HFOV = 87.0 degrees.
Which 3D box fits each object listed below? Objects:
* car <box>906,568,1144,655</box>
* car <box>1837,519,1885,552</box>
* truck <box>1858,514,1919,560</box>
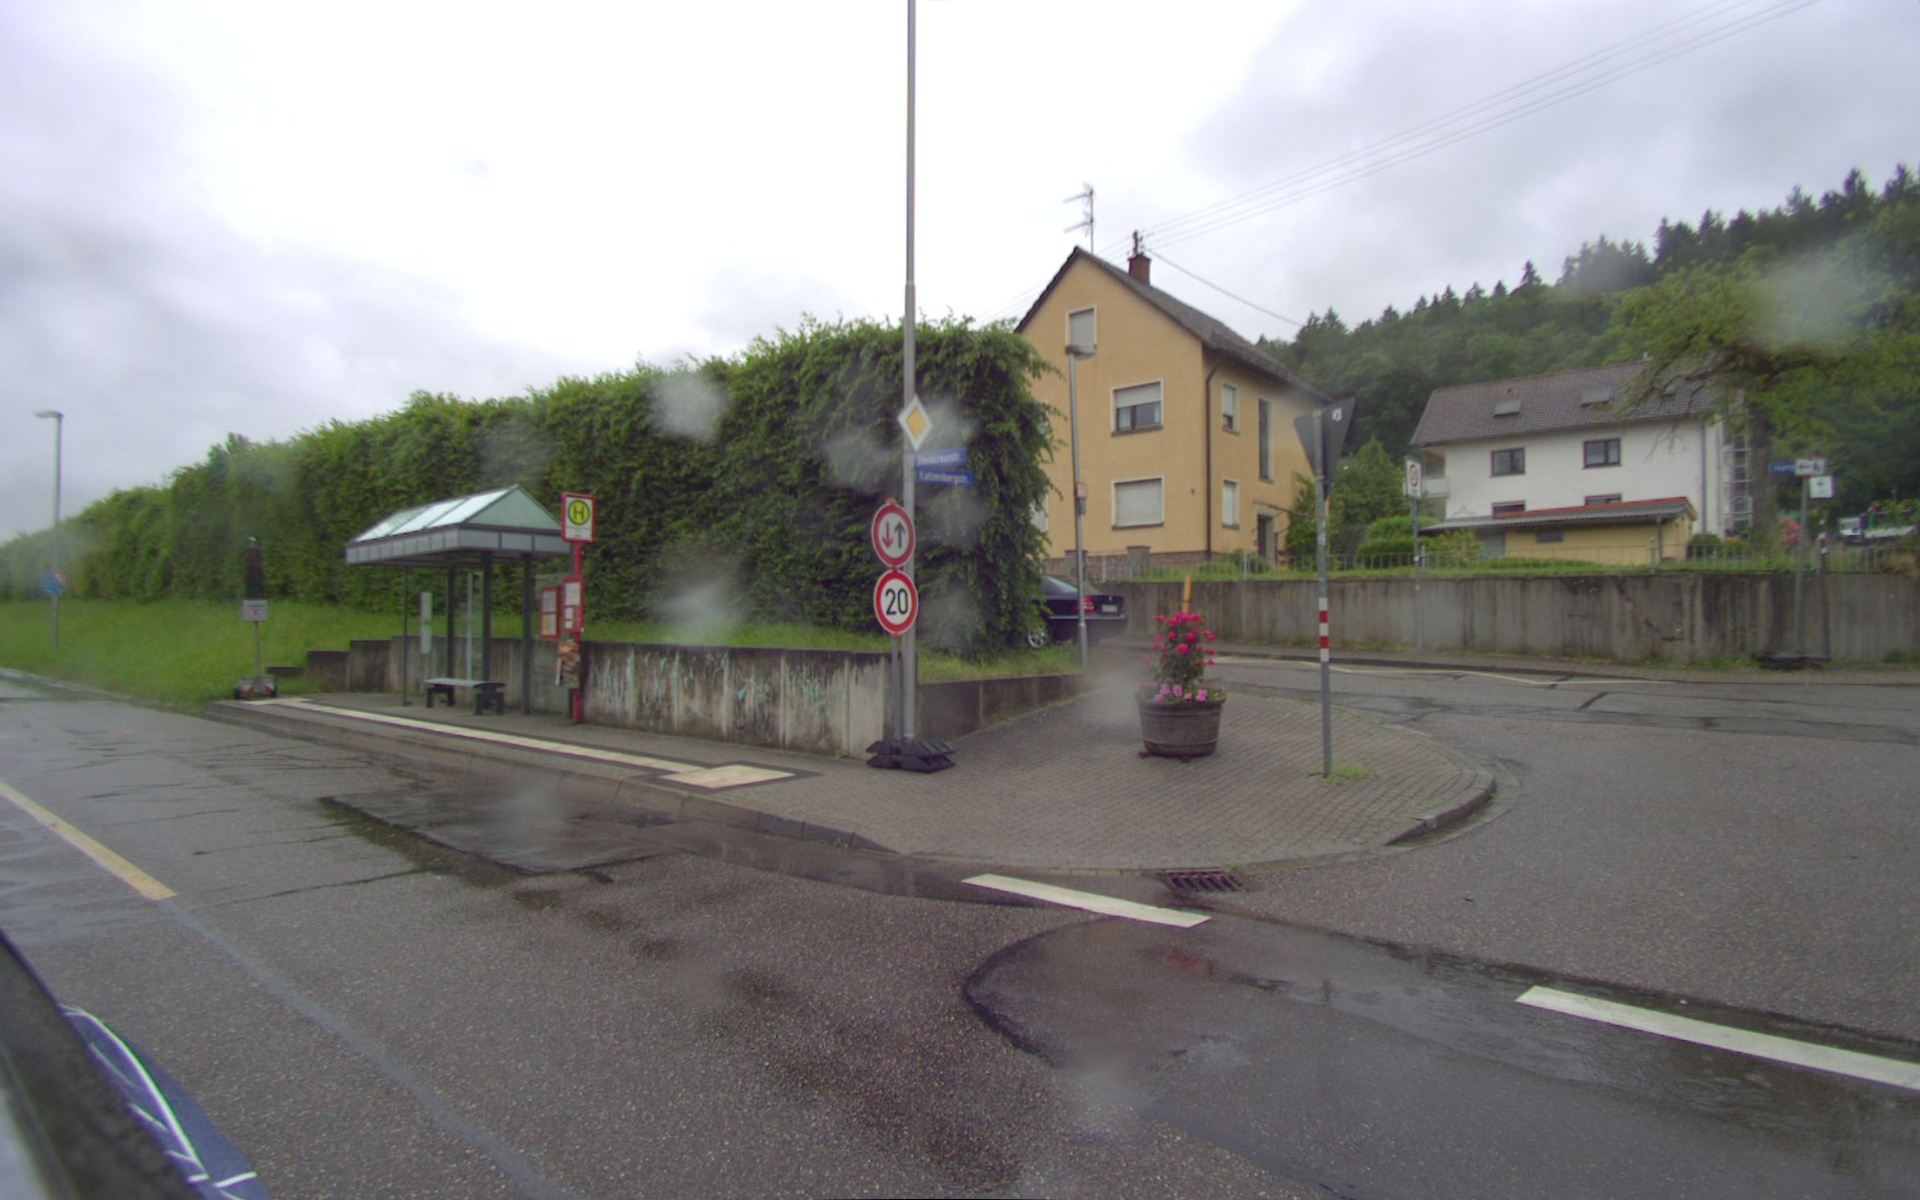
[{"bbox_3d":[1.133,0.146,18.844,4.220,1.399,1.727,2,1,40],"label":"car"},{"bbox_3d":[57.936,-4.114,65.128,1.913,2.028,3.951,0,2,36],"label":"car"},{"bbox_3d":[47.505,-3.173,51.607,2.298,2.142,6.000,-1,1,40],"label":"truck"}]
